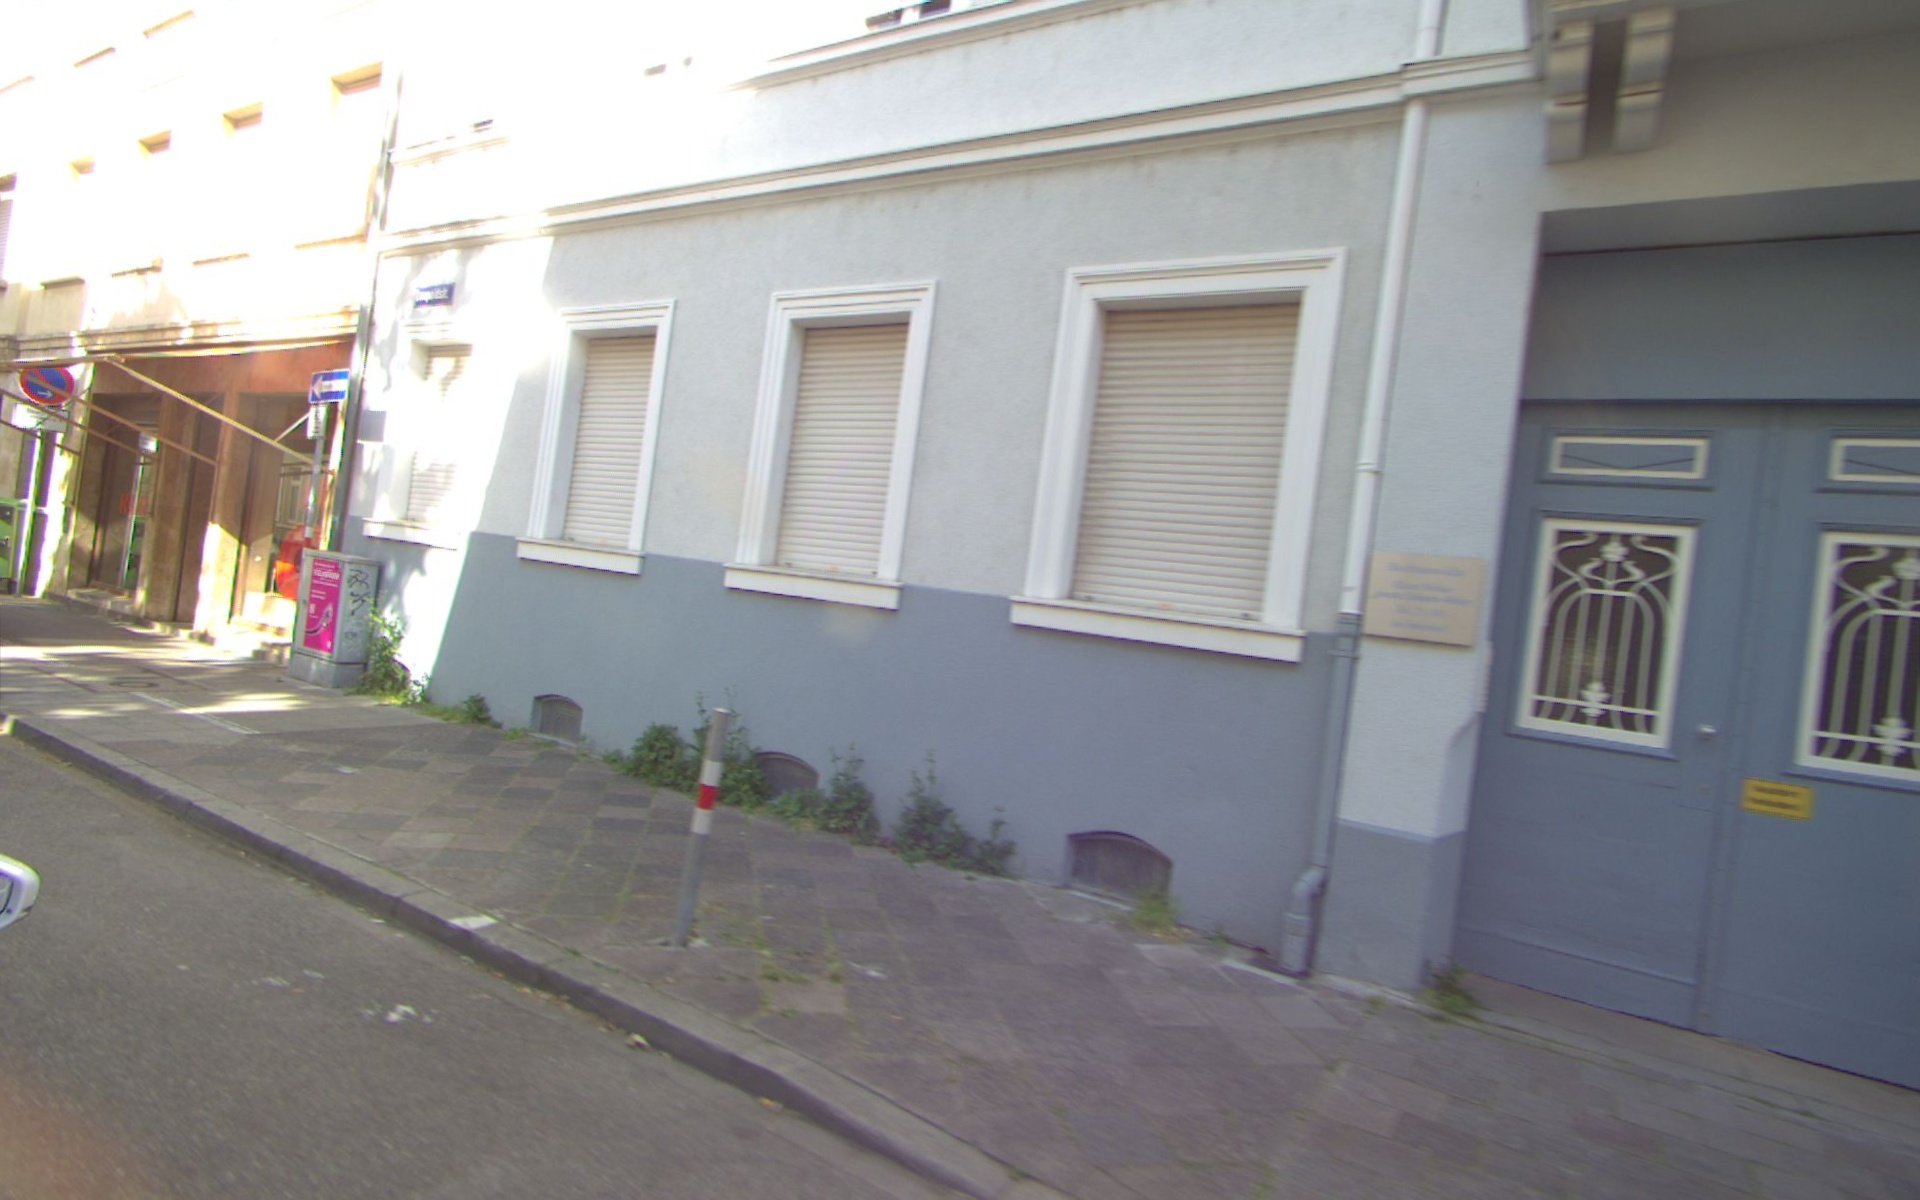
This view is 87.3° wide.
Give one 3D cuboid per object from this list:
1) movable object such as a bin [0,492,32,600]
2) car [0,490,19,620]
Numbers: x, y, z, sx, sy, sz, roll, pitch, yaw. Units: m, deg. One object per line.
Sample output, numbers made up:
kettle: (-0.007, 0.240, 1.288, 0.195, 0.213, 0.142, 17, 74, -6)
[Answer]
movable object such as a bin: (-13.657, -0.807, 13.990, 1.350, 1.455, 0.746, 7, 2, 34)
car: (-11.352, -0.537, 9.844, 4.816, 1.597, 1.805, 7, -2, 32)
